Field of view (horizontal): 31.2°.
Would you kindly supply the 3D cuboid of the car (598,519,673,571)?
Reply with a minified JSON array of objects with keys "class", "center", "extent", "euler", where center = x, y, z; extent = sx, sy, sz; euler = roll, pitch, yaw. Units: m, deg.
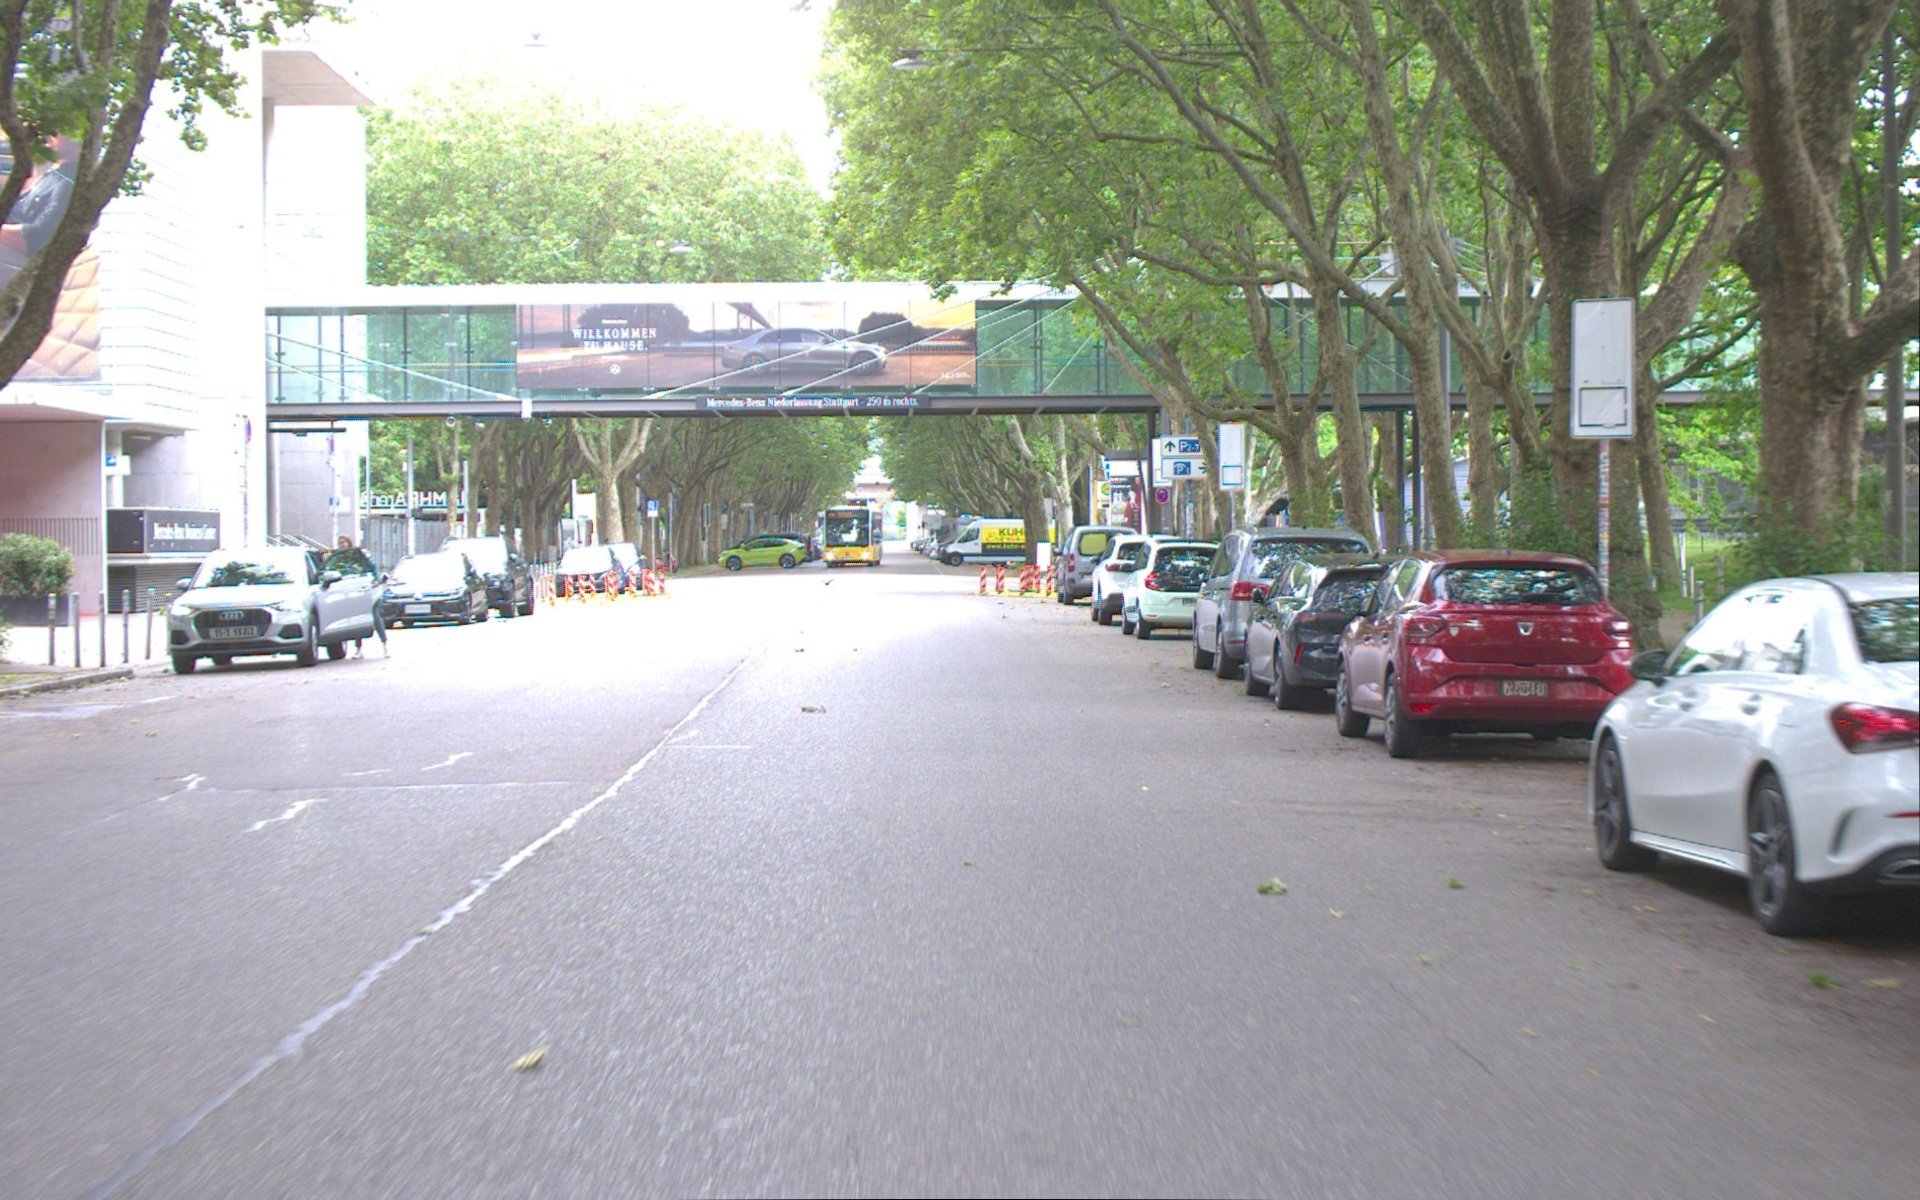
[{"class":"car","center":[-10.576,-1.807,112.271],"extent":[1.993,1.579,4.113],"euler":[-3,1,-1]}]

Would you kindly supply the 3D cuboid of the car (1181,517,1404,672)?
[{"class":"car","center":[3.758,-0.095,39.632],"extent":[1.981,1.674,4.732],"euler":[0,1,-2]}]

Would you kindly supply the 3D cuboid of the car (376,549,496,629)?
[{"class":"car","center":[-10.396,-0.248,68.473],"extent":[1.704,1.415,4.325],"euler":[-3,1,-1]}]

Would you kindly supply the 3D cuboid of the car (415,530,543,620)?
[{"class":"car","center":[-10.392,-0.574,74.570],"extent":[2.034,1.783,4.908],"euler":[-3,1,-1]}]

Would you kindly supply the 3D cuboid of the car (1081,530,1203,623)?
[{"class":"car","center":[3.265,-0.440,62.536],"extent":[1.914,1.612,4.749],"euler":[0,1,-1]}]

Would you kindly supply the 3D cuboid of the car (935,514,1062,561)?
[{"class":"car","center":[2.103,-3.454,188.845],"extent":[6.822,2.505,2.317],"euler":[0,1,-3]}]

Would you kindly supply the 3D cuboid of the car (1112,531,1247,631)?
[{"class":"car","center":[3.413,-0.316,54.112],"extent":[1.807,1.521,4.096],"euler":[0,1,-1]}]

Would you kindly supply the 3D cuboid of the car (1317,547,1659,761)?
[{"class":"car","center":[3.902,0.342,26.064],"extent":[1.856,1.476,4.178],"euler":[0,1,-1]}]

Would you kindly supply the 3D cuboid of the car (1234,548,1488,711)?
[{"class":"car","center":[3.734,0.229,32.736],"extent":[1.877,1.422,4.480],"euler":[0,1,0]}]

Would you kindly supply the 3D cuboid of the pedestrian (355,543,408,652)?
[{"class":"pedestrian","center":[-7.861,-0.044,46.721],"extent":[0.584,1.461,0.567],"euler":[1,1,3]}]

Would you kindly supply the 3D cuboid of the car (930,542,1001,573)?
[{"class":"car","center":[0.295,-2.429,196.297],"extent":[3.986,1.788,1.543],"euler":[0,1,-1]}]

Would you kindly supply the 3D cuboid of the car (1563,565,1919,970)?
[{"class":"car","center":[4.000,0.587,14.809],"extent":[1.877,1.422,4.586],"euler":[0,1,-2]}]

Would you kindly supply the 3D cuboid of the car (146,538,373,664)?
[{"class":"car","center":[-9.206,-0.030,45.543],"extent":[2.073,1.557,4.756],"euler":[0,1,-1]}]

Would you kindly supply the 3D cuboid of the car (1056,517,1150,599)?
[{"class":"car","center":[3.234,-0.969,78.592],"extent":[1.847,1.777,5.211],"euler":[1,1,-1]}]

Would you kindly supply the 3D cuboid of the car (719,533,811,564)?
[{"class":"car","center":[-10.129,-2.688,178.723],"extent":[4.700,1.579,1.864],"euler":[0,1,0]}]

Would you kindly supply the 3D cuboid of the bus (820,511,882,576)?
[{"class":"bus","center":[-5.689,-2.937,179.979],"extent":[3.038,3.149,12.678],"euler":[-2,1,-2]}]
